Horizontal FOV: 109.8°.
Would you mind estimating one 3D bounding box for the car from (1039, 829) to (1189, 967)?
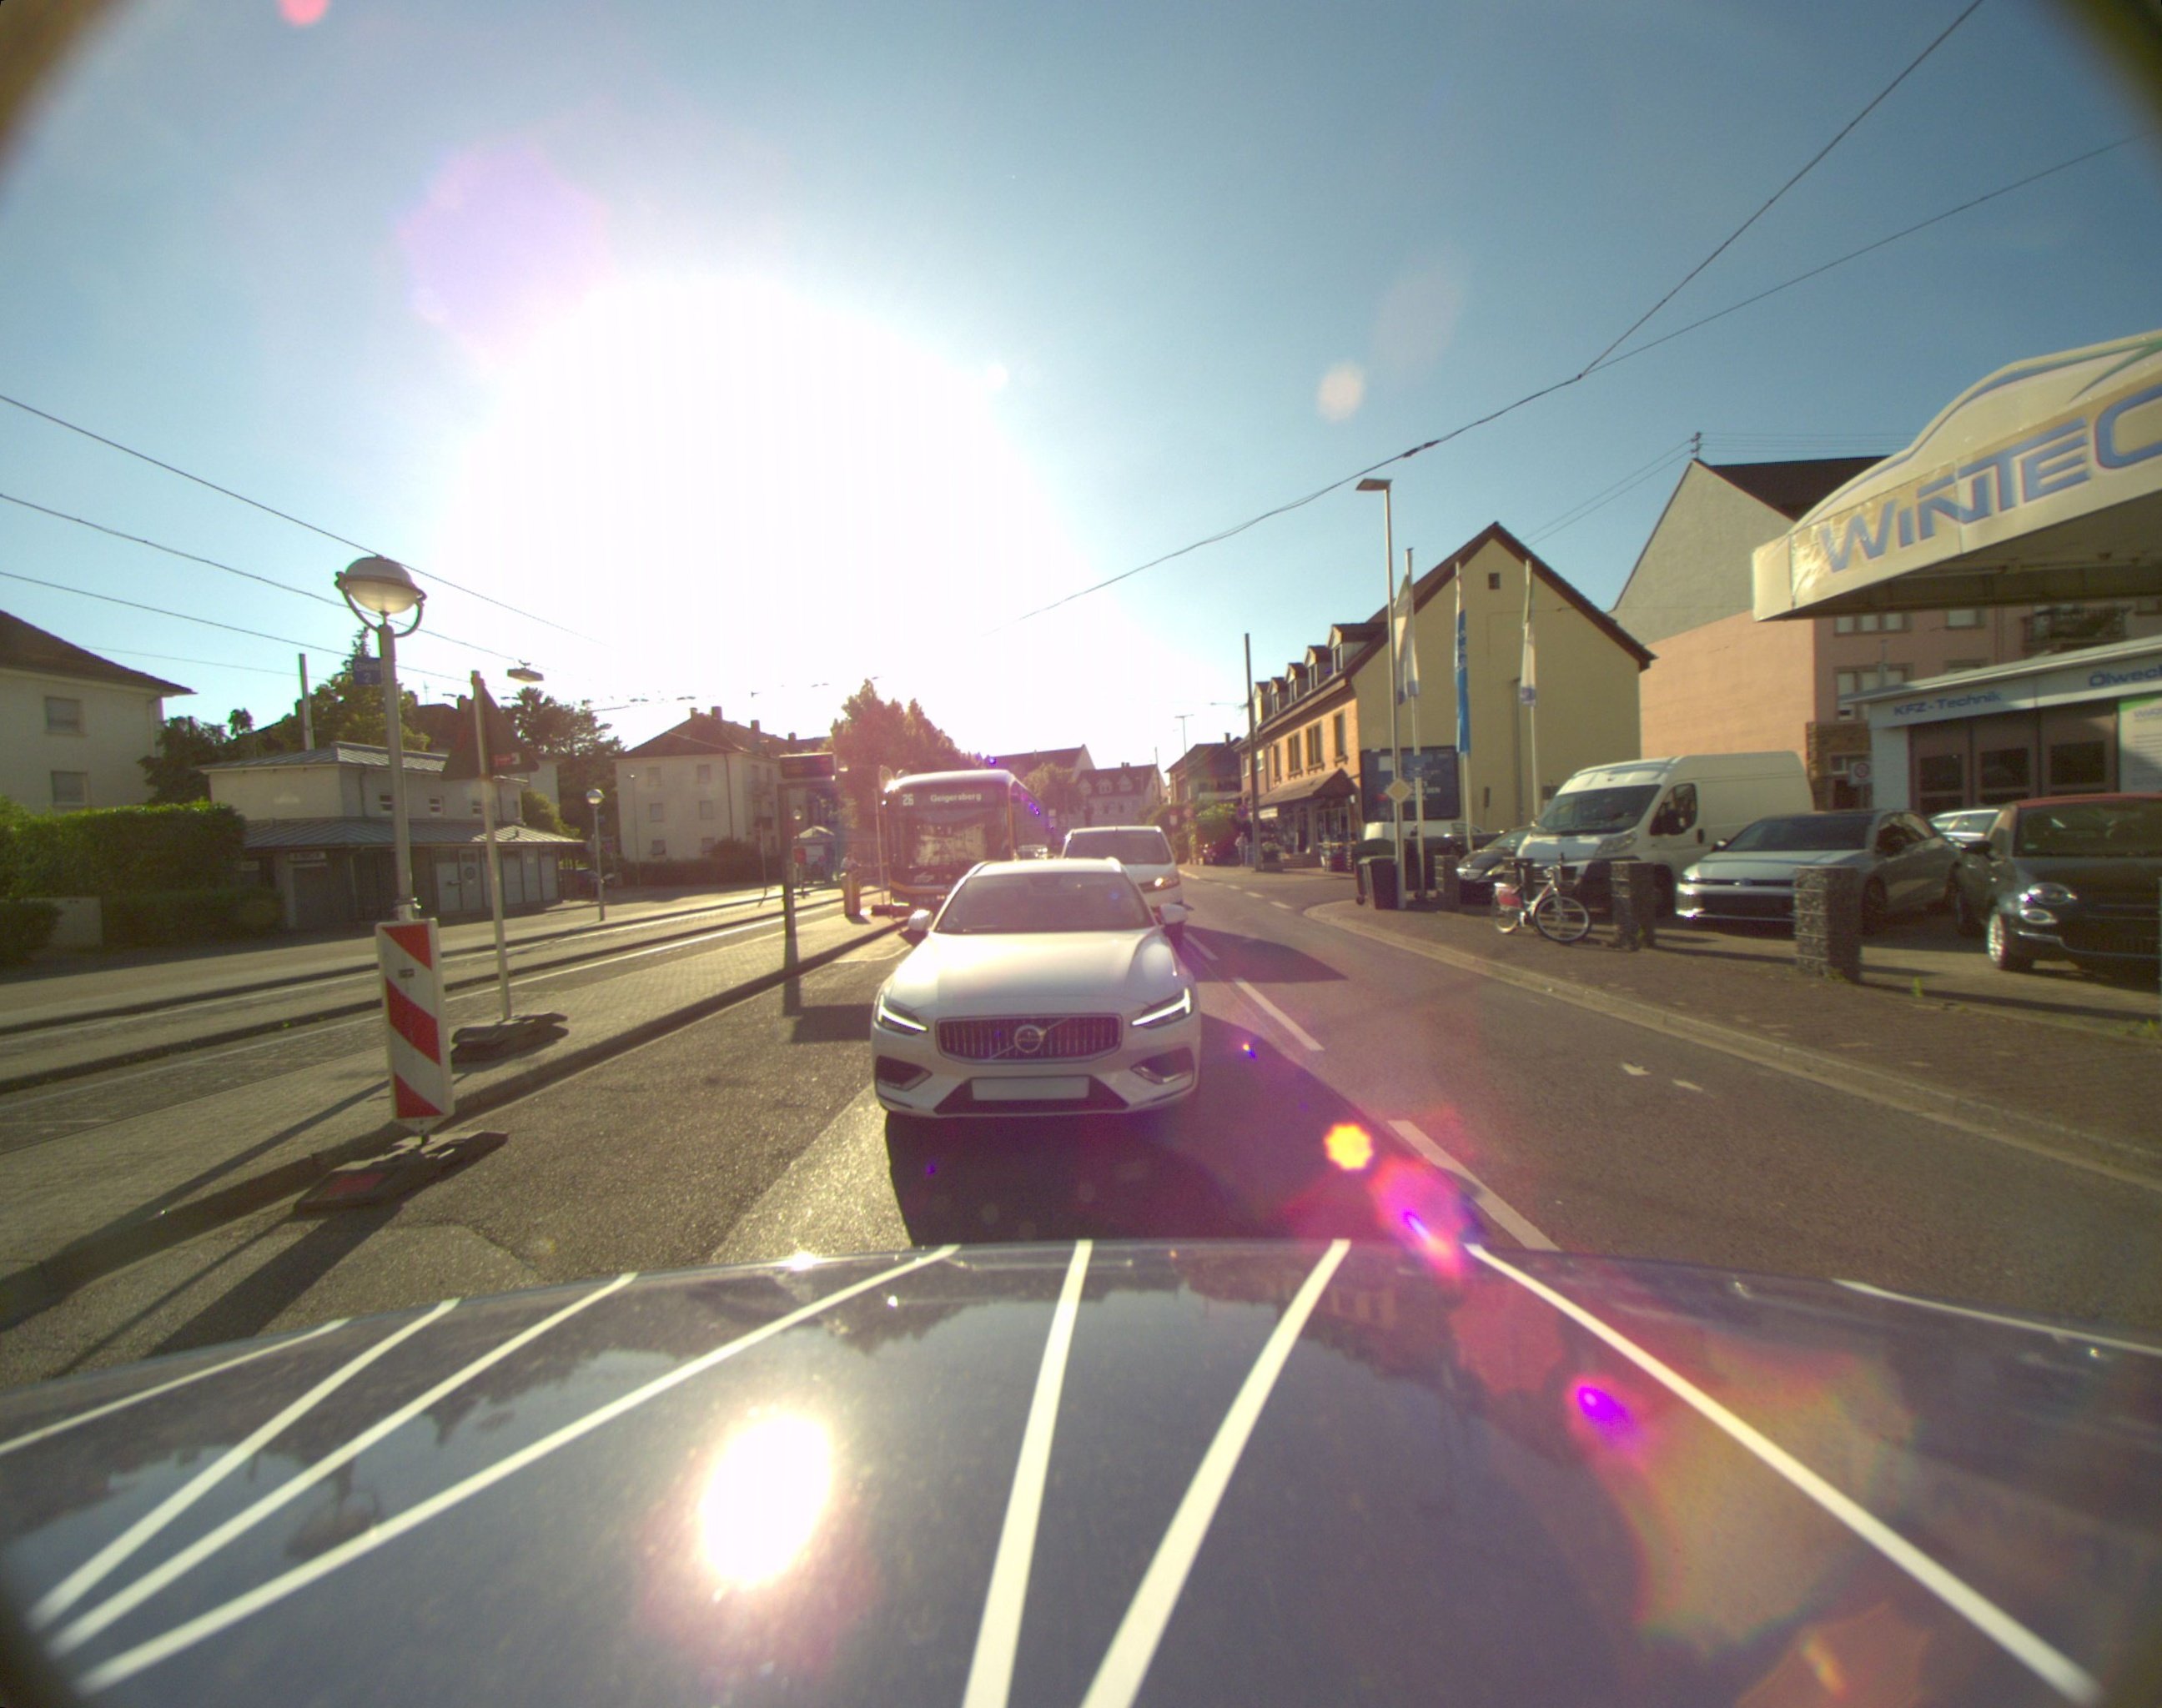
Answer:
[{"bbox_3d":[0.525,0.570,12.872,1.969,1.816,5.033,-2,1,2],"label":"car"}]

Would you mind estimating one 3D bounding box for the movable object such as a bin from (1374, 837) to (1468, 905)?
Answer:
[{"bbox_3d":[7.896,0.372,17.651,1.798,1.456,1.046,-3,2,-24],"label":"movable object such as a bin"}]

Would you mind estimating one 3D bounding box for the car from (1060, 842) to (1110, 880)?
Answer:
[{"bbox_3d":[0.221,0.256,32.990,1.969,1.451,4.824,-2,1,2],"label":"car"}]

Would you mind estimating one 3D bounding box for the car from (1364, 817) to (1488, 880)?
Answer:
[{"bbox_3d":[12.018,-0.206,26.586,3.672,2.002,1.451,-2,2,-2],"label":"car"}]

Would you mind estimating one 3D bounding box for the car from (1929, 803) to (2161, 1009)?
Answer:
[{"bbox_3d":[9.200,0.330,6.878,1.590,1.488,3.442,-1,2,41],"label":"car"}]

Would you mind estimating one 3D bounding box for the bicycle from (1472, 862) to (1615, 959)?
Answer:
[{"bbox_3d":[6.058,0.691,10.084,0.725,1.080,1.791,-3,1,-2],"label":"bicycle"}]

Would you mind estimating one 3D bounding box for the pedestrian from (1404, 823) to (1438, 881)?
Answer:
[{"bbox_3d":[11.261,-0.070,25.197,0.766,1.842,0.823,-2,2,4],"label":"pedestrian"}]

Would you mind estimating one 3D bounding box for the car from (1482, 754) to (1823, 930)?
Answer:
[{"bbox_3d":[9.361,-0.280,12.465,4.996,2.440,2.111,-3,2,-21],"label":"car"}]

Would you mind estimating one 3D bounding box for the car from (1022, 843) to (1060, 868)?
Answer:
[{"bbox_3d":[-2.460,0.057,48.215,1.969,1.451,4.824,-2,1,2],"label":"car"}]

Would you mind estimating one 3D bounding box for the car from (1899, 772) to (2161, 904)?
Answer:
[{"bbox_3d":[16.701,-0.308,12.570,1.742,1.933,4.257,-3,1,0],"label":"car"}]

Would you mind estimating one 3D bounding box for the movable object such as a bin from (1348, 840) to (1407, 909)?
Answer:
[{"bbox_3d":[6.523,0.443,16.711,1.045,1.456,0.797,-1,2,33],"label":"movable object such as a bin"}]

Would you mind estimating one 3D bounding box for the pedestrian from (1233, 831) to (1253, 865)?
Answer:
[{"bbox_3d":[8.251,-0.313,38.645,0.809,1.704,0.859,-2,2,2],"label":"pedestrian"}]

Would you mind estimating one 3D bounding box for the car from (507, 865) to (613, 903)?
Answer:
[{"bbox_3d":[-27.026,1.537,39.475,4.051,1.664,2.000,-3,1,3],"label":"car"}]

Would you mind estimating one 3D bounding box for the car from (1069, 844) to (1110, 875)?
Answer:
[{"bbox_3d":[0.489,0.240,39.671,1.969,1.451,4.824,-2,1,2],"label":"car"}]

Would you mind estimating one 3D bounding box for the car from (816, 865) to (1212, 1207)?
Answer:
[{"bbox_3d":[-0.256,0.901,5.698,1.821,1.446,4.217,-2,1,2],"label":"car"}]

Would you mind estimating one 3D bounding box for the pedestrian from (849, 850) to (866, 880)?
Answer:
[{"bbox_3d":[-12.328,0.601,41.879,0.825,1.602,0.841,-3,2,-17],"label":"pedestrian"}]

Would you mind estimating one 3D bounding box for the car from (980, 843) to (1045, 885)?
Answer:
[{"bbox_3d":[-2.637,0.336,30.415,1.969,1.451,4.824,-2,1,2],"label":"car"}]

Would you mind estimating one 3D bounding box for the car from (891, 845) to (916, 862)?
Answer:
[{"bbox_3d":[-21.706,-0.099,93.010,1.998,1.853,3.999,-2,1,2],"label":"car"}]

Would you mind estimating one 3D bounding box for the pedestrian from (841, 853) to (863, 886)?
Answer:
[{"bbox_3d":[-9.908,0.677,32.862,0.657,1.373,0.581,-2,2,17],"label":"pedestrian"}]

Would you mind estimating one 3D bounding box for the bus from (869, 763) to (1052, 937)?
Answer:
[{"bbox_3d":[-2.565,-0.164,20.739,2.748,3.284,12.030,-2,1,1],"label":"bus"}]

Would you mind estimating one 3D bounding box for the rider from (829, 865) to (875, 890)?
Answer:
[{"bbox_3d":[-9.902,1.013,32.882,1.854,0.986,0.581,-2,2,17],"label":"rider"}]

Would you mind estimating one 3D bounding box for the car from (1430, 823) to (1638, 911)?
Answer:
[{"bbox_3d":[9.234,0.194,15.460,4.036,1.469,1.739,-3,2,-27],"label":"car"}]

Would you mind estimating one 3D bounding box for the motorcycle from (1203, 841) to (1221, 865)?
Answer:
[{"bbox_3d":[7.043,-0.057,40.870,0.708,1.210,2.186,-2,1,4],"label":"motorcycle"}]

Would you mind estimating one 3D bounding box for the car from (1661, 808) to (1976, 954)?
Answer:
[{"bbox_3d":[9.664,0.244,9.917,4.036,1.488,1.739,-3,2,-27],"label":"car"}]
